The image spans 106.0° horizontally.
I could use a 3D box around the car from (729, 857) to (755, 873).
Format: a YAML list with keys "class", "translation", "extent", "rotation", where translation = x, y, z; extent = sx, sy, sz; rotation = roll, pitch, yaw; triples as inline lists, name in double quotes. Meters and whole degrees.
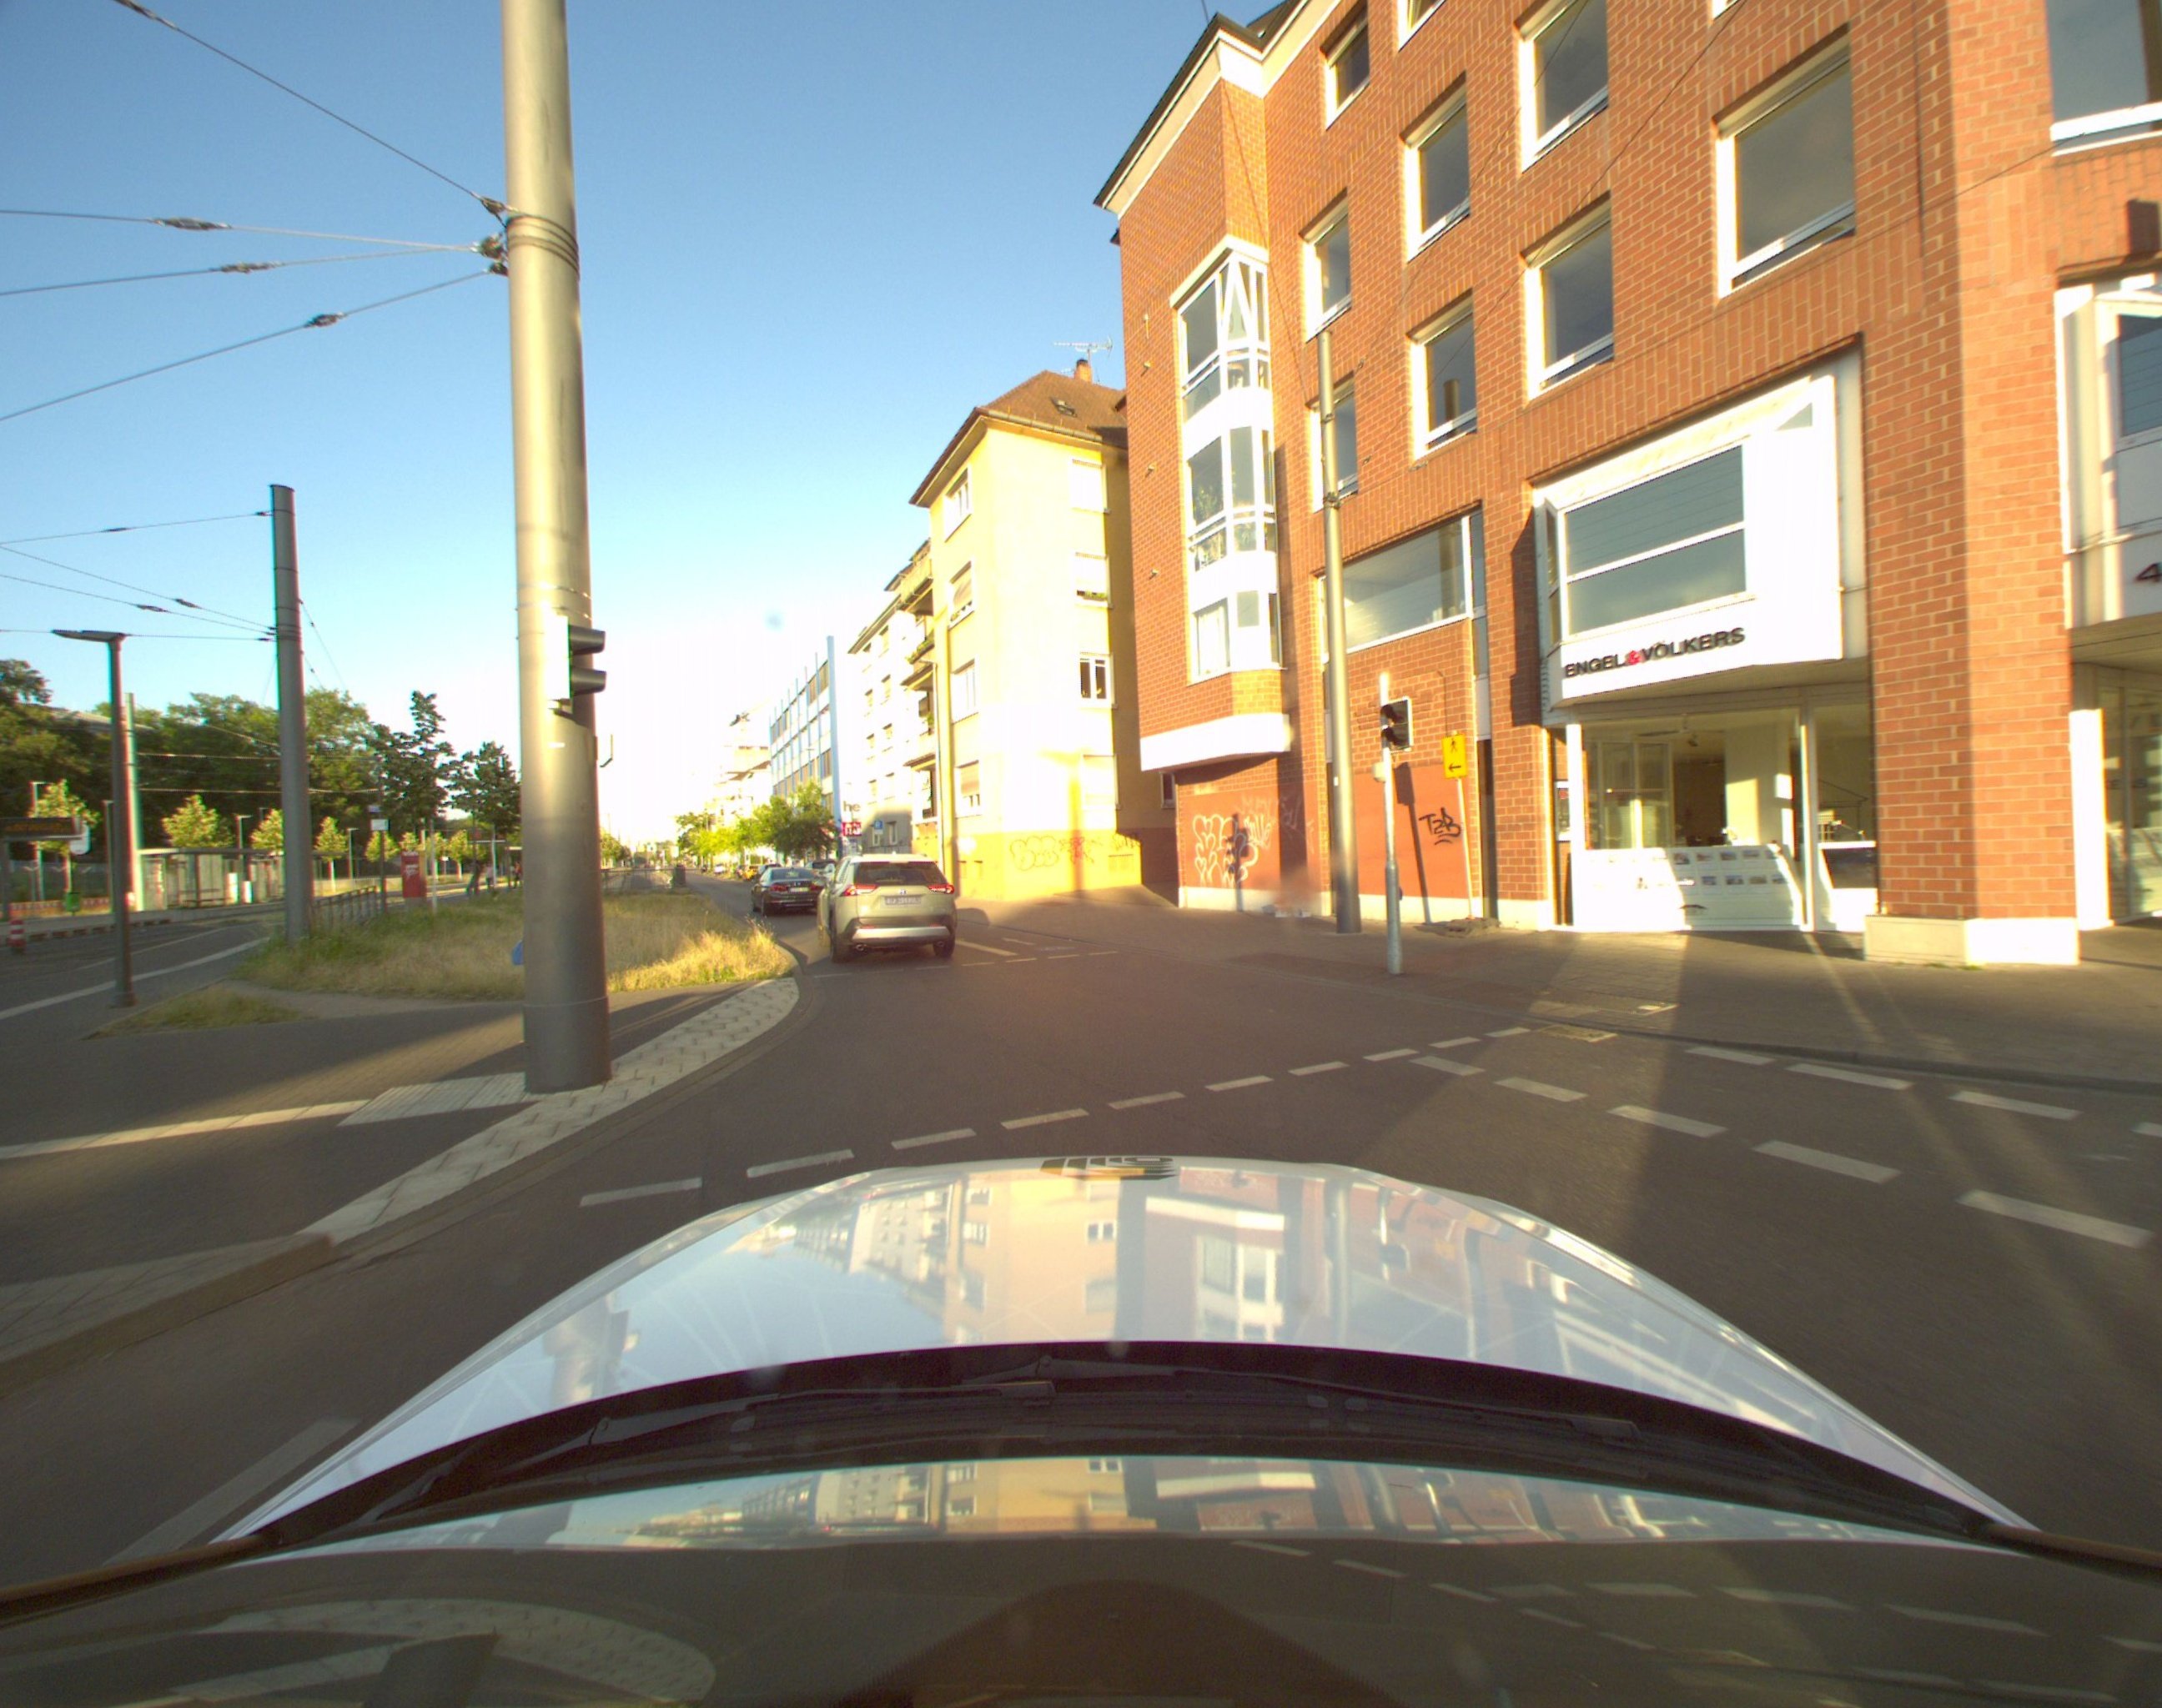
- class: "car"
  translation: [-33.838, 1.132, 81.215]
  extent: [1.831, 1.454, 4.088]
  rotation: [-4, 1, -30]

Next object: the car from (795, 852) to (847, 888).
- class: "car"
  translation: [-14.022, 0.836, 43.829]
  extent: [1.767, 1.653, 4.487]
  rotation: [-5, 2, -28]

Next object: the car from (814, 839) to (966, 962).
- class: "car"
  translation: [-3.358, 0.672, 13.696]
  extent: [1.865, 1.714, 4.161]
  rotation: [-1, -1, -22]

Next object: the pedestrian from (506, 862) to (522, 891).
- class: "pedestrian"
  translation: [-33.939, 1.351, 48.730]
  extent: [0.640, 1.728, 0.628]
  rotation: [-3, 1, -41]

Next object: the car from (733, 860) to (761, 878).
- class: "car"
  translation: [-29.500, 1.323, 71.779]
  extent: [1.694, 1.454, 4.090]
  rotation: [-3, 1, -30]

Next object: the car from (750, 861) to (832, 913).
- class: "car"
  translation: [-9.200, 0.979, 25.600]
  extent: [1.868, 1.462, 4.154]
  rotation: [-1, -1, -28]

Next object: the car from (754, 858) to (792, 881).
- class: "car"
  translation: [-23.335, 1.149, 61.636]
  extent: [1.831, 1.566, 4.763]
  rotation: [-5, 2, -30]

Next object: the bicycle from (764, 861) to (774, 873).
- class: "bicycle"
  translation: [-31.888, 1.350, 83.252]
  extent: [0.557, 1.129, 1.955]
  rotation: [-5, 1, -30]

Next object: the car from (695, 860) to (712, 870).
- class: "car"
  translation: [-61.507, 1.797, 132.652]
  extent: [1.805, 1.470, 4.401]
  rotation: [-6, 2, -31]

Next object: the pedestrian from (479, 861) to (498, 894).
- class: "pedestrian"
  translation: [-32.469, 1.255, 44.623]
  extent: [0.730, 1.744, 0.629]
  rotation: [-3, 1, -36]

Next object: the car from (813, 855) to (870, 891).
- class: "car"
  translation: [-11.588, 0.904, 39.251]
  extent: [1.681, 1.517, 3.566]
  rotation: [-7, 2, -31]

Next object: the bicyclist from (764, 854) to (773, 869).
- class: "bicyclist"
  translation: [-31.963, 0.741, 83.273]
  extent: [0.562, 1.475, 0.617]
  rotation: [-6, 2, -30]

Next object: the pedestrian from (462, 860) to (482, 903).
- class: "pedestrian"
  translation: [-26.317, 1.176, 35.199]
  extent: [0.473, 1.787, 0.621]
  rotation: [-2, 0, -21]
